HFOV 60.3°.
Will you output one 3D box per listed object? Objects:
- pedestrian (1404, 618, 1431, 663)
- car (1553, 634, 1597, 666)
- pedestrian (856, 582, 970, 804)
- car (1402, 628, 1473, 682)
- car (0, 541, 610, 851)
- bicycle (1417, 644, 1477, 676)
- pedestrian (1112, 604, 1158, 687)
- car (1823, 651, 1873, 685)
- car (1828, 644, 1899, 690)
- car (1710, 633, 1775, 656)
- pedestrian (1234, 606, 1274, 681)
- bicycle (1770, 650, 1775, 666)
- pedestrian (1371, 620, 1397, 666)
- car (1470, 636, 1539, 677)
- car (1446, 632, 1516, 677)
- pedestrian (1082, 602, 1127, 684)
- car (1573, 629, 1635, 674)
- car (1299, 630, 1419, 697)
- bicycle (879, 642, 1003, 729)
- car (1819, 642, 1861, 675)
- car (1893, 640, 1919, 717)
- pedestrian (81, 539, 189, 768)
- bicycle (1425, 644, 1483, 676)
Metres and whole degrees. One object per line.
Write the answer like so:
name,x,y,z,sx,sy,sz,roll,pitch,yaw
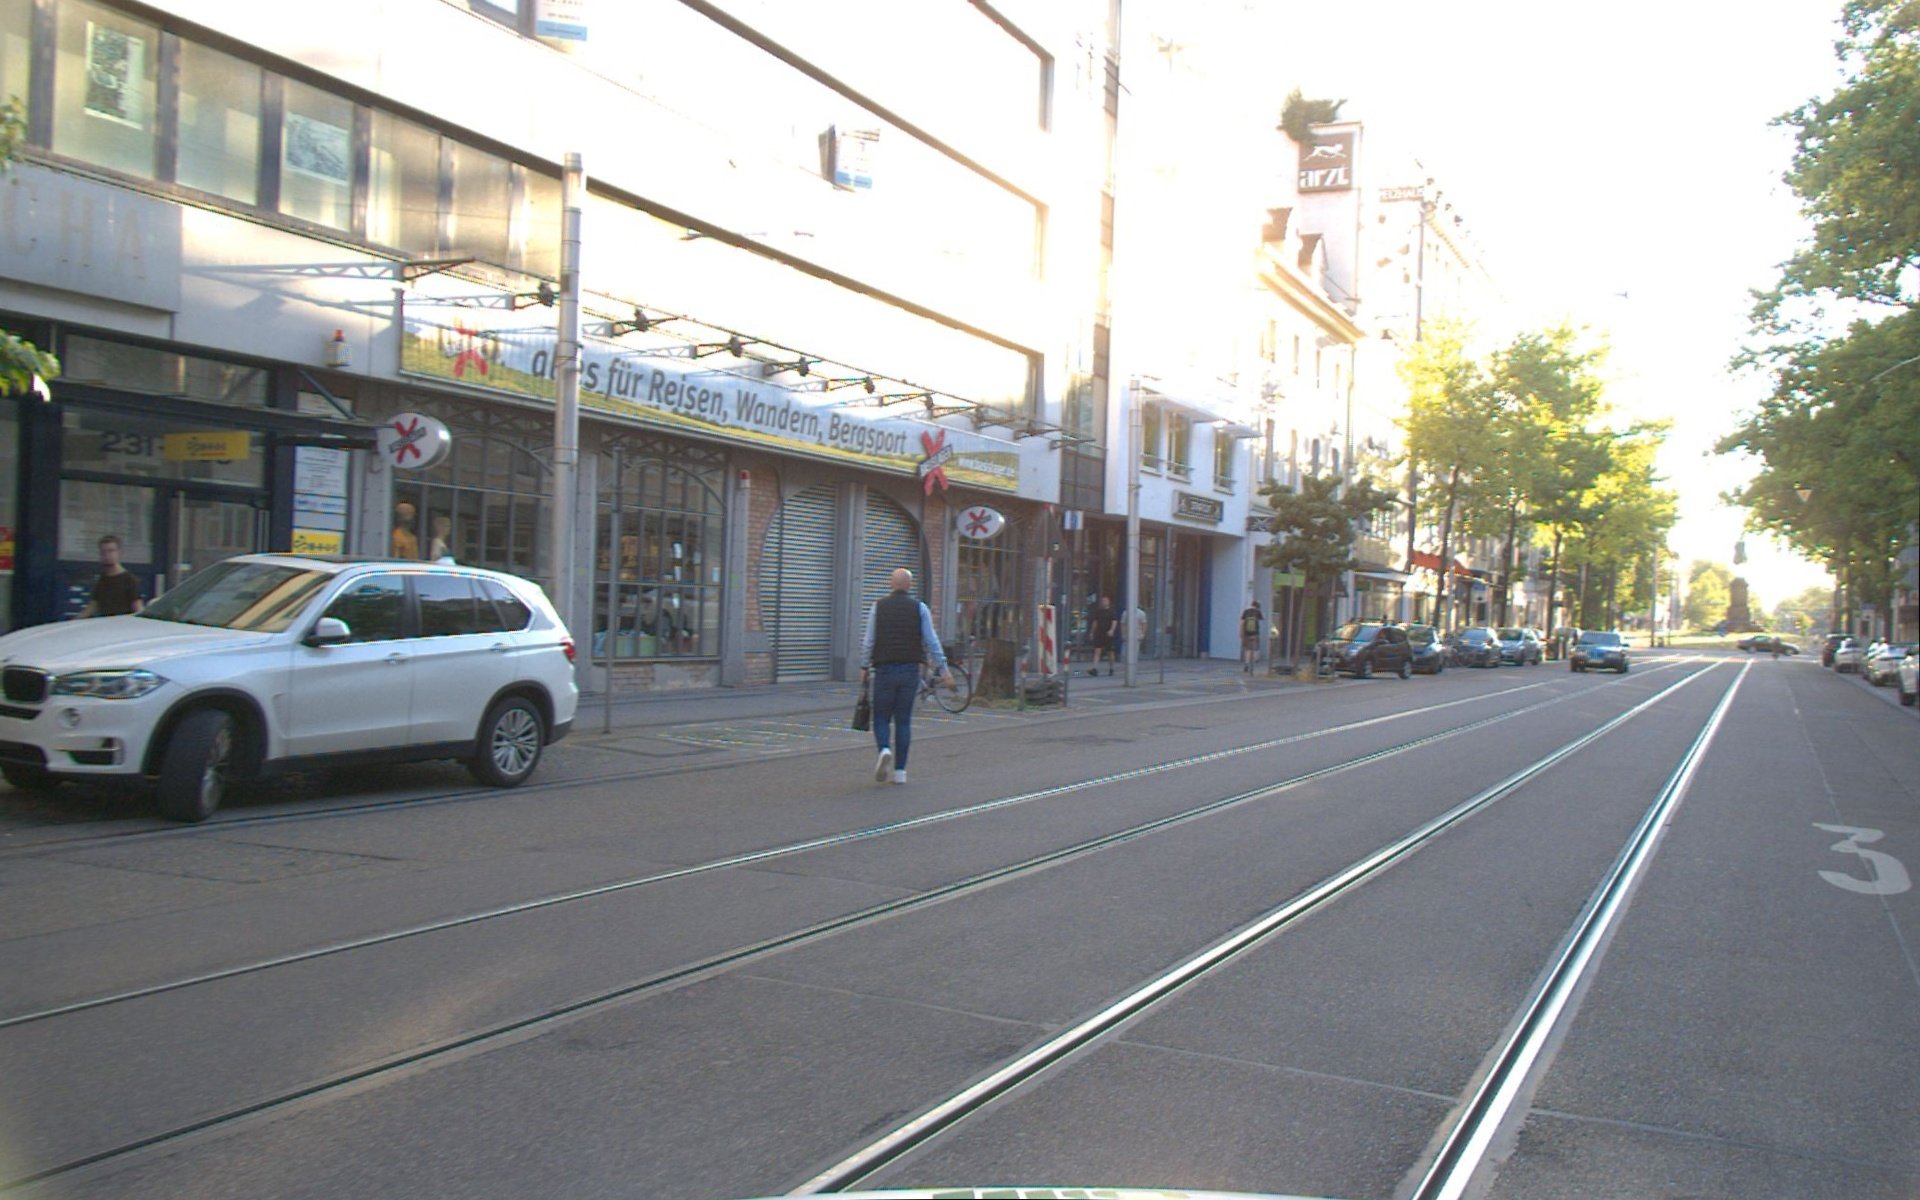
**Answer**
pedestrian,17.650,1.556,63.795,0.827,1.723,0.739,1,-1,26
car,35.178,2.845,94.569,1.802,1.607,4.111,6,1,27
pedestrian,-0.408,0.763,13.929,0.834,1.797,0.830,2,-1,-8
car,15.172,1.716,52.441,1.755,1.516,4.242,4,0,21
car,-4.944,0.585,12.427,1.955,1.784,4.739,4,1,26
bicycle,16.768,2.068,57.003,1.934,1.019,0.330,2,-1,30
pedestrian,3.828,0.992,36.142,0.630,1.742,0.827,3,0,30
car,41.971,3.211,78.238,1.955,1.525,4.673,-2,-2,27
car,29.590,2.170,54.267,1.875,1.445,4.882,-1,-2,27
car,62.632,3.544,132.375,4.586,1.713,1.996,2,0,29
pedestrian,7.561,1.127,42.528,0.647,1.856,0.877,5,1,27
bicycle,51.498,3.671,104.837,0.259,1.000,1.337,2,0,26
pedestrian,16.425,1.660,64.071,0.773,1.723,0.913,1,-1,26
car,22.081,2.281,66.985,1.735,1.523,4.164,2,-1,31
car,19.212,1.985,60.856,1.679,1.486,4.480,4,0,27
pedestrian,3.192,0.943,36.438,0.616,1.742,0.806,3,0,30
car,22.572,1.778,57.899,1.744,1.432,4.525,2,-1,24
car,10.941,1.724,45.232,1.606,1.644,3.686,4,1,41
bicycle,-0.283,1.177,23.157,1.716,1.009,0.477,6,2,35
car,49.991,3.323,94.046,1.900,1.790,4.674,-2,-2,26
car,23.082,1.804,38.397,1.957,1.718,4.965,0,-2,23
pedestrian,-7.590,0.476,15.224,0.602,2.049,0.592,1,-1,25
bicycle,17.585,2.128,58.918,1.934,1.019,0.330,2,-1,29
